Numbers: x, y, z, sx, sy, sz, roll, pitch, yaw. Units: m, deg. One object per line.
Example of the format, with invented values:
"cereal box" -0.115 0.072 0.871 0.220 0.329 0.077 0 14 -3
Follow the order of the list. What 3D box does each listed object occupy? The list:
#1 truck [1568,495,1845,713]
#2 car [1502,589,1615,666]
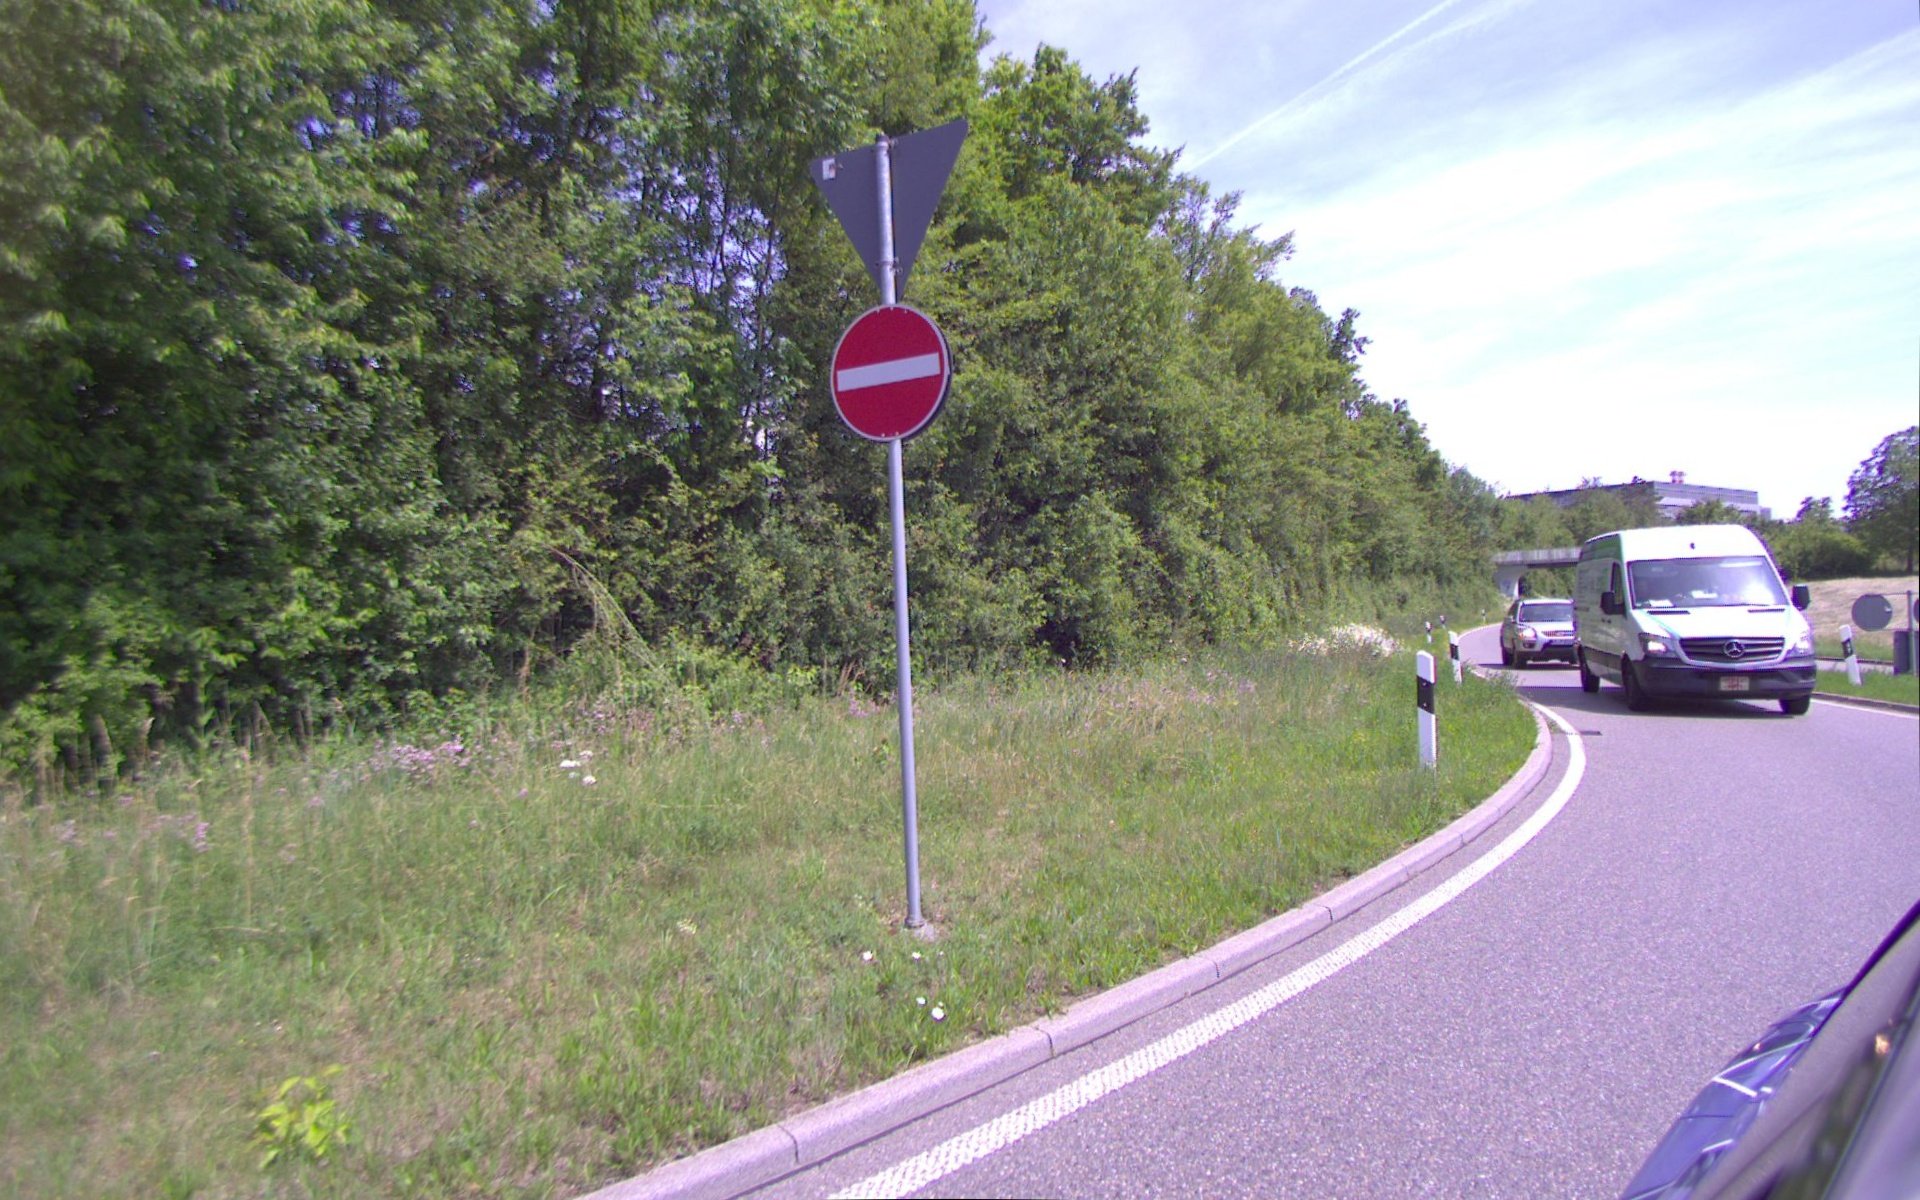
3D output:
"truck" 10.803 0.097 15.233 1.978 2.619 5.839 -2 -1 24
"car" 14.669 0.674 25.005 1.830 1.730 4.055 -2 -2 24
